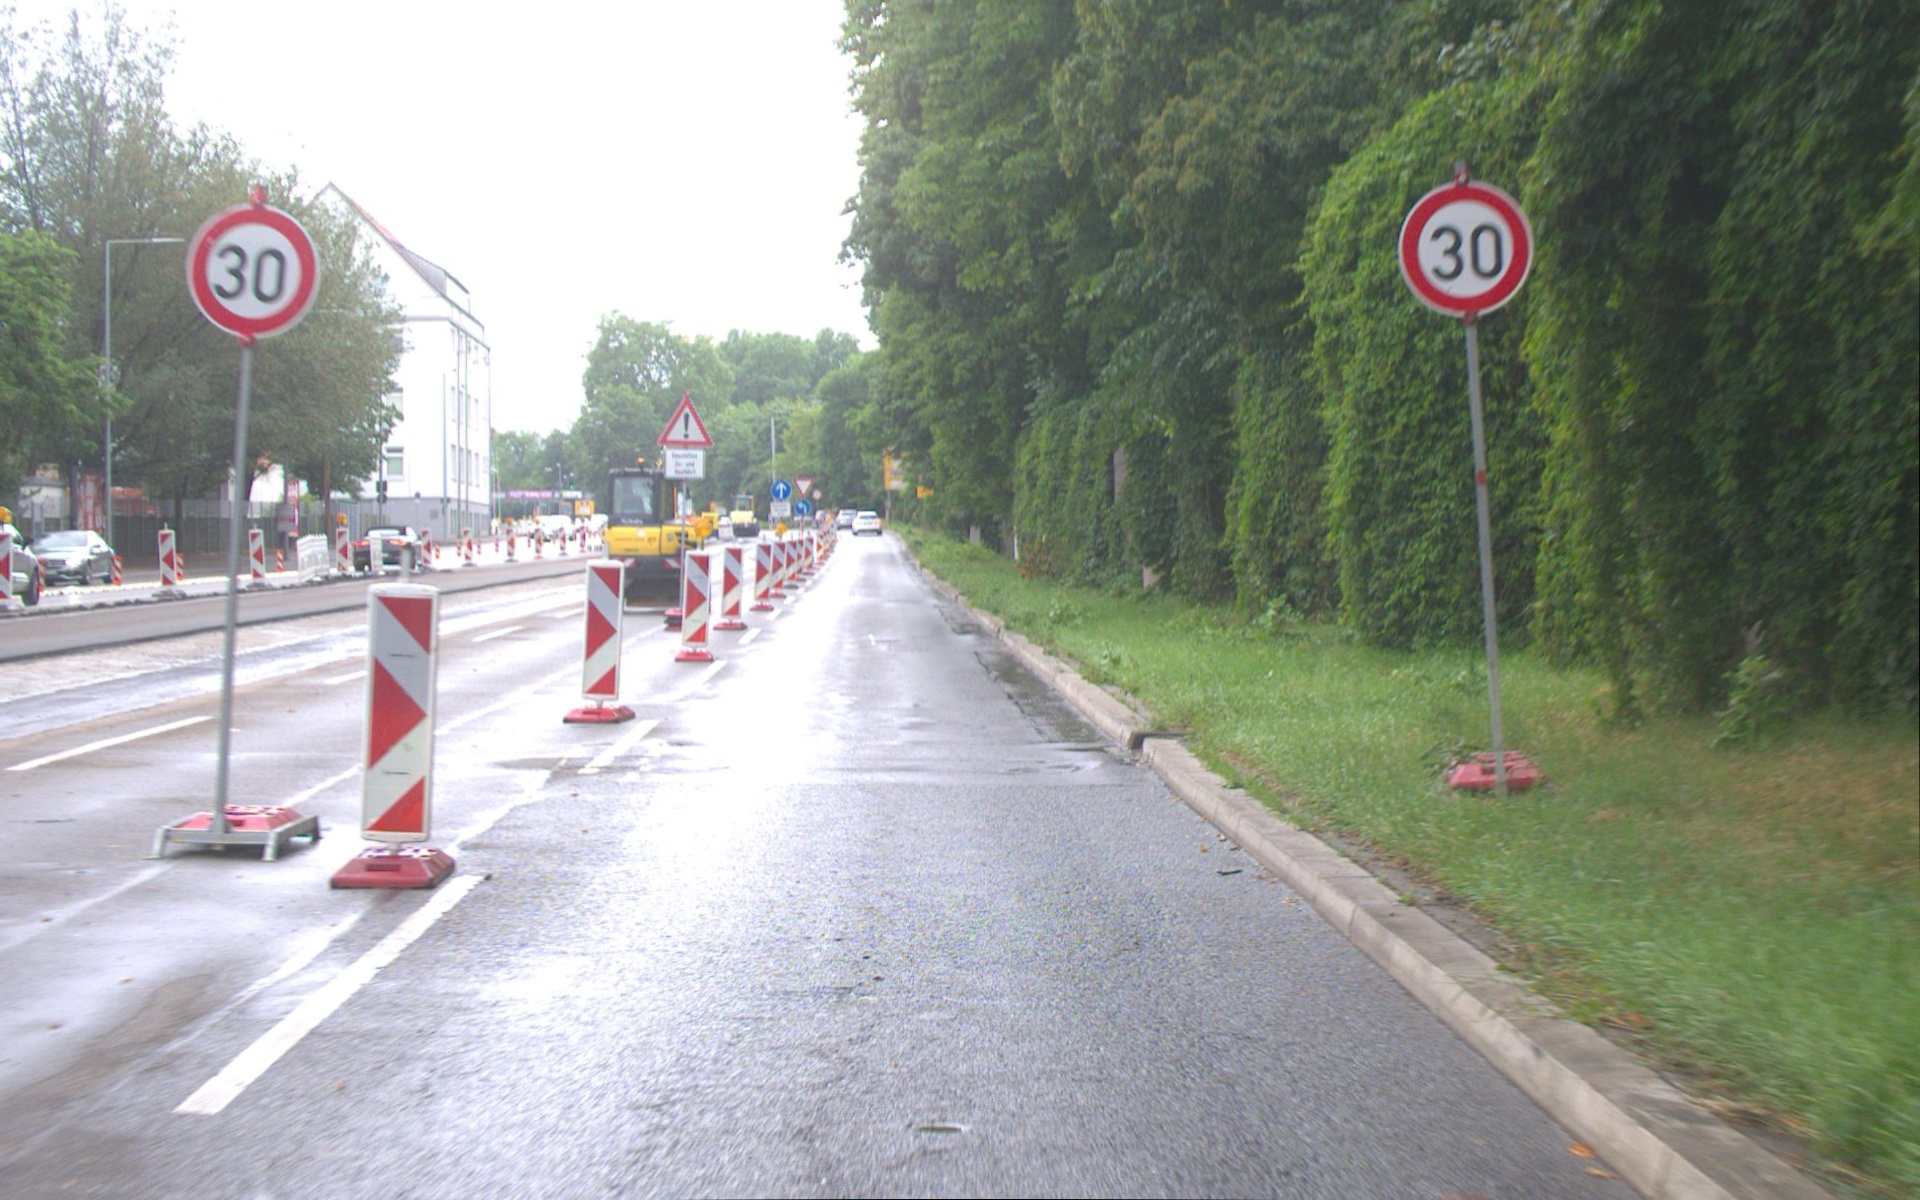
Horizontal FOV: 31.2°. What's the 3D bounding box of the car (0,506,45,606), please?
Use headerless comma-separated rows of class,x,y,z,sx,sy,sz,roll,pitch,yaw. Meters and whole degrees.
car,-16.690,-0.753,57.355,1.854,1.642,4.000,1,1,-2

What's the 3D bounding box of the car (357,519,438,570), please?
car,-17.617,-1.732,107.819,1.993,1.514,4.000,1,1,-2

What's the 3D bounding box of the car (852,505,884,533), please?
car,-5.872,-5.160,219.159,1.993,1.667,4.000,1,1,-1

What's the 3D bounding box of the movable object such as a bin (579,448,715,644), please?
movable object such as a bin,-5.651,-0.966,62.756,1.993,3.356,5.983,1,1,-1

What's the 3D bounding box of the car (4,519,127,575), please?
car,-23.048,-1.354,88.744,1.993,1.343,4.791,1,1,-1
